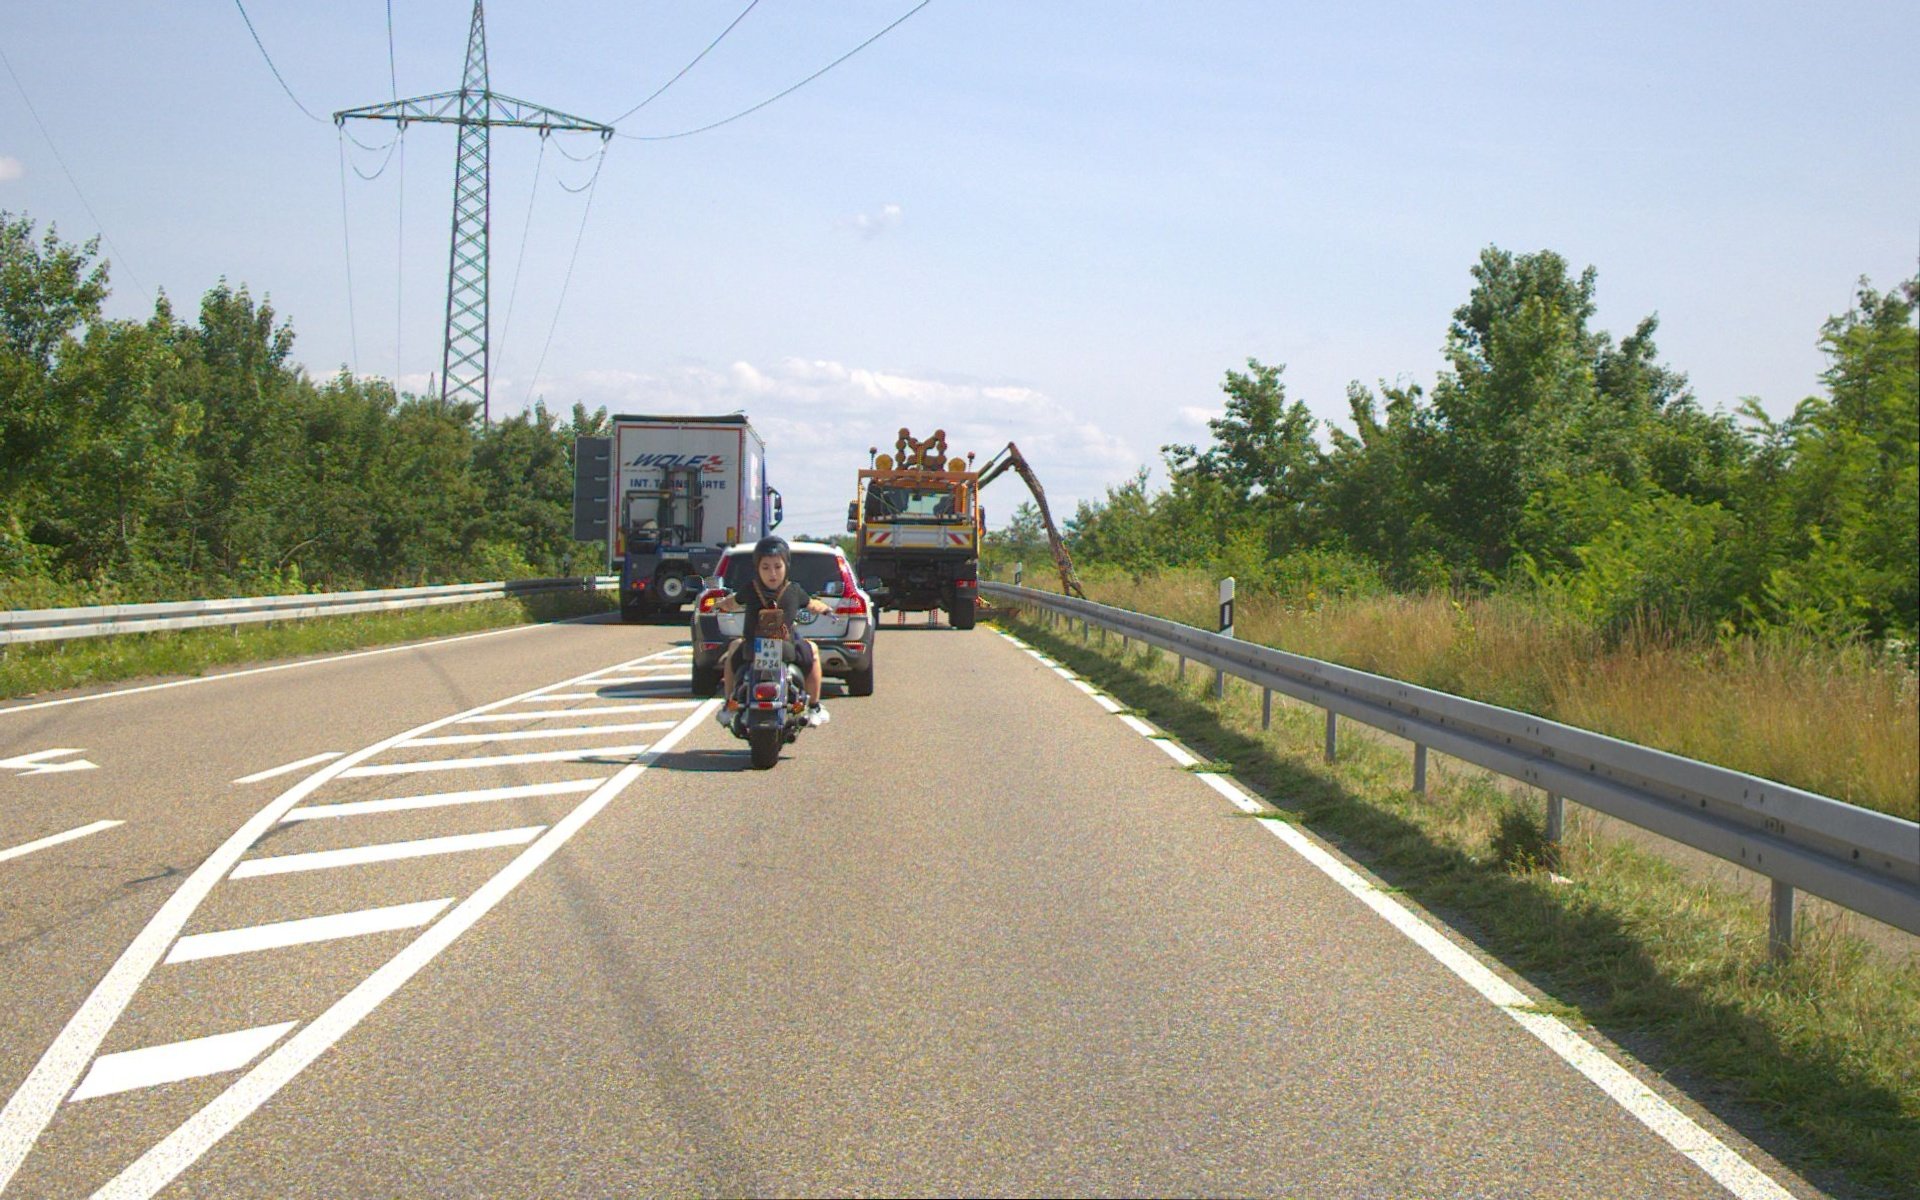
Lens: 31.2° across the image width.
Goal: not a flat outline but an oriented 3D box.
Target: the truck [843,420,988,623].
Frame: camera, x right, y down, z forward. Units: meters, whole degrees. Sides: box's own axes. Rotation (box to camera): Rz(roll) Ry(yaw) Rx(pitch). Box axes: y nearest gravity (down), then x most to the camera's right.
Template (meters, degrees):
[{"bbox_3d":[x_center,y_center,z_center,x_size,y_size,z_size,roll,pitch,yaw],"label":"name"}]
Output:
[{"bbox_3d":[-0.866,-1.512,66.849,2.613,3.698,6.778,1,1,-1],"label":"truck"}]

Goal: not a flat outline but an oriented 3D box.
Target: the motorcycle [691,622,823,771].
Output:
[{"bbox_3d":[-1.379,0.638,23.581,0.859,0.912,2.228,0,1,-3],"label":"motorcycle"}]

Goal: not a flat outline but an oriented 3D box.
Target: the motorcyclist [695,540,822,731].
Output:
[{"bbox_3d":[-1.383,0.233,23.741,0.837,1.276,0.919,1,1,-3],"label":"motorcyclist"}]

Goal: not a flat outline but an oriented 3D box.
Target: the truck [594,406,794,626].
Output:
[{"bbox_3d":[-5.463,-1.736,73.395,2.968,4.172,14.822,1,1,0],"label":"truck"}]

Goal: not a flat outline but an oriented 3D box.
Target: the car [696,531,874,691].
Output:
[{"bbox_3d":[-1.844,0.076,35.368,1.700,1.531,3.500,1,1,-5],"label":"car"}]
